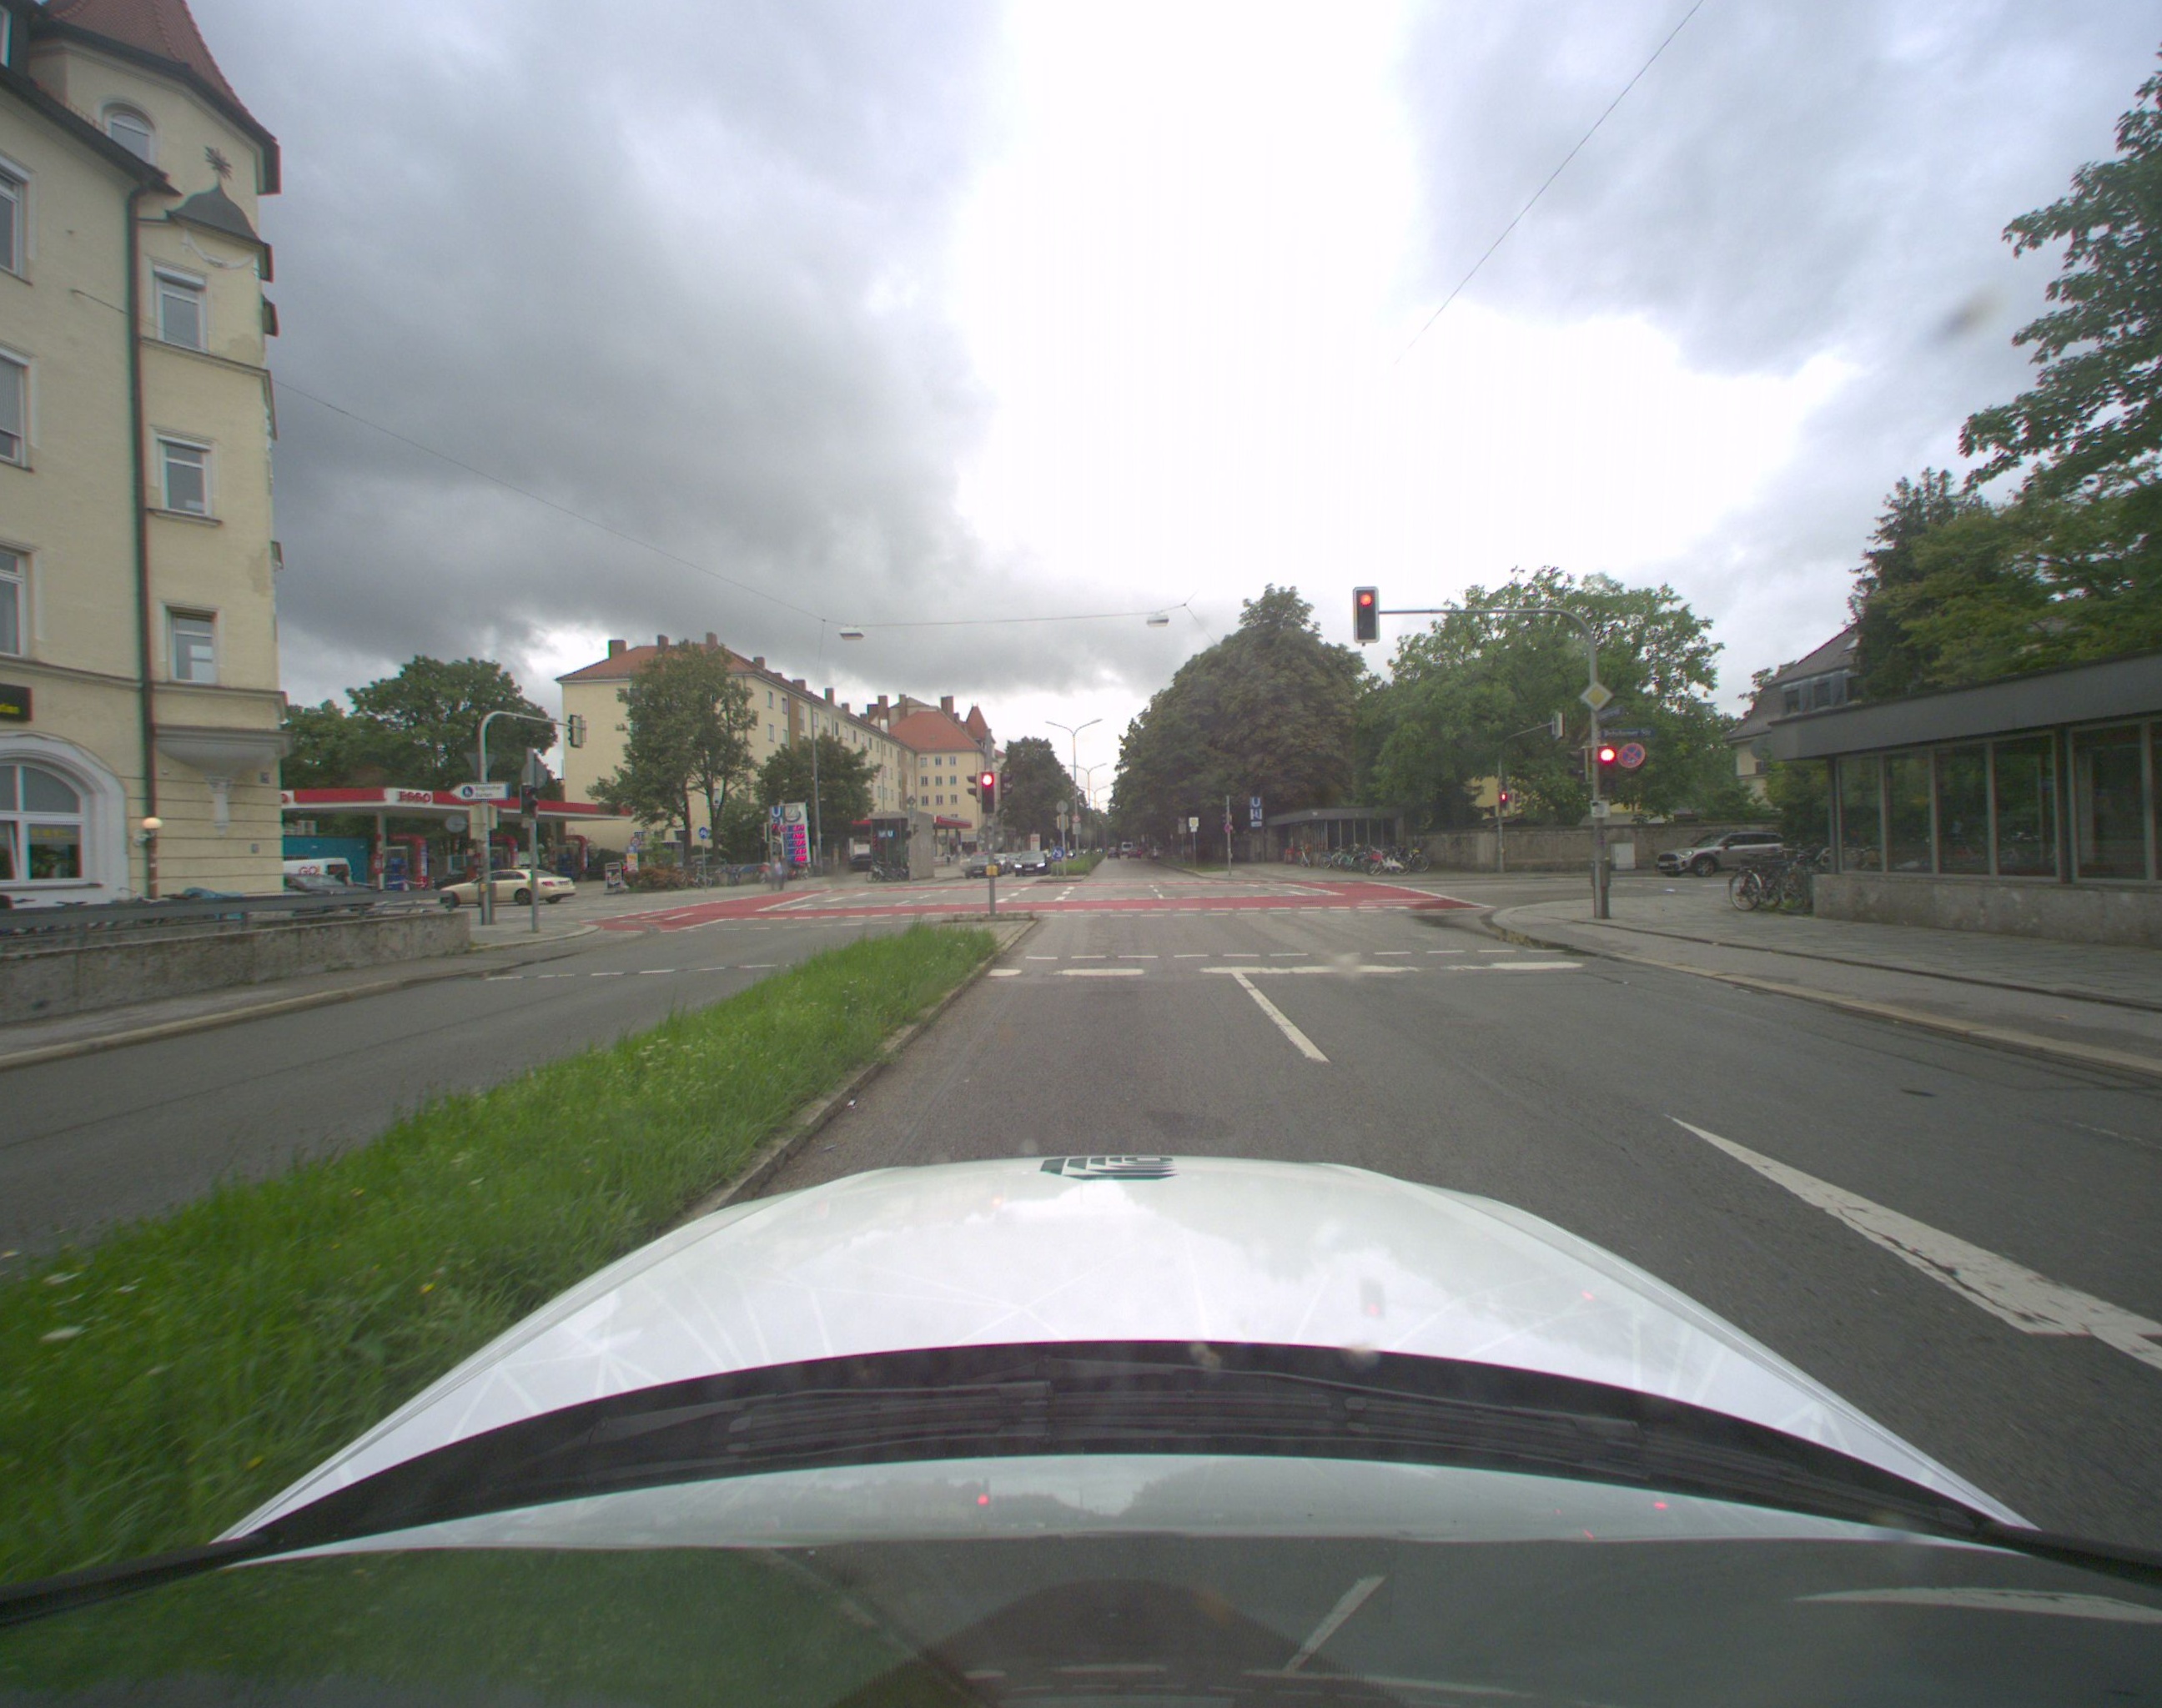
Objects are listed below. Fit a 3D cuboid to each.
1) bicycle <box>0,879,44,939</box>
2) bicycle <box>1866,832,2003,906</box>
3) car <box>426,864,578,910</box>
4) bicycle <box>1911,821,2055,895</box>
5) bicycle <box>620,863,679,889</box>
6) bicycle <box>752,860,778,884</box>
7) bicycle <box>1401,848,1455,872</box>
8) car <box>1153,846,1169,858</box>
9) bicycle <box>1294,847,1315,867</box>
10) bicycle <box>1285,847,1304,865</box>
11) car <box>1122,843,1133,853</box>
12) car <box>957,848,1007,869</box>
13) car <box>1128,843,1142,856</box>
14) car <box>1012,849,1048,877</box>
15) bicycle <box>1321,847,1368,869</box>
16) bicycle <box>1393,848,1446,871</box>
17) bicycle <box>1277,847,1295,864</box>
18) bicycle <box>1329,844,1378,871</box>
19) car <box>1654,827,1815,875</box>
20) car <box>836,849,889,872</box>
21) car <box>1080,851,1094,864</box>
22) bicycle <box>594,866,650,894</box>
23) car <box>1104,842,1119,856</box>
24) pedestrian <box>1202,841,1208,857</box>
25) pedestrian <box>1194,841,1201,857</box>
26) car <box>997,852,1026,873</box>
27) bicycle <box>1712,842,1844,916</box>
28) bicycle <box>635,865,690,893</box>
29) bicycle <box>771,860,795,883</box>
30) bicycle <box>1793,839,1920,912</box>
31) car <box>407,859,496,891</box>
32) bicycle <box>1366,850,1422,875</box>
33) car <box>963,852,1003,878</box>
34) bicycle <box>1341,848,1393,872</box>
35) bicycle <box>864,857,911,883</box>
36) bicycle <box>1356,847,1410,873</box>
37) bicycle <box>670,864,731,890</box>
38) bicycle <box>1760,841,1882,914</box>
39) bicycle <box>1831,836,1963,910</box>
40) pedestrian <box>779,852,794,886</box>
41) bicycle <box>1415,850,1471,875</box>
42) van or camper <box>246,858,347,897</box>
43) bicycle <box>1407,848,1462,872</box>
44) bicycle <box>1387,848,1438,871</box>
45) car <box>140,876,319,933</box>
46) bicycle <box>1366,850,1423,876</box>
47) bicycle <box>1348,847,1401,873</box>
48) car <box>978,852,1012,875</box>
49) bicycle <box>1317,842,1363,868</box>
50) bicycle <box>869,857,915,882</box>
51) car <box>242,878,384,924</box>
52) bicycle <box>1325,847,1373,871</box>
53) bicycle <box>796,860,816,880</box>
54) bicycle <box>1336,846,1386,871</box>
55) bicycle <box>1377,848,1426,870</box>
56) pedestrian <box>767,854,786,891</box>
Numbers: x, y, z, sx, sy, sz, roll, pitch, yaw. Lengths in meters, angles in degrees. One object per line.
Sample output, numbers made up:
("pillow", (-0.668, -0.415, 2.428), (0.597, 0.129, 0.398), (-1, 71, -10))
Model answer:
("bicycle", (-18.291, 0.935, 13.379), (0.471, 0.980, 1.546), (-2, 0, 3))
("bicycle", (13.956, 0.239, 13.387), (0.467, 1.121, 1.736), (-2, 0, 3))
("car", (-23.098, 1.290, 32.584), (4.749, 1.646, 1.785), (-2, 0, 0))
("bicycle", (14.710, 0.066, 13.354), (0.467, 1.121, 1.736), (-2, 0, 3))
("bicycle", (-21.118, 1.061, 39.916), (2.393, 1.251, 0.789), (0, 0, -9))
("bicycle", (-17.041, 0.970, 43.976), (0.607, 1.236, 2.184), (-2, 0, -4))
("bicycle", (15.636, 0.254, 36.736), (2.129, 1.014, 0.636), (-2, 0, 10))
("car", (9.515, -0.291, 97.153), (1.736, 1.363, 3.808), (-2, 0, 2))
("bicycle", (11.938, 0.132, 43.460), (0.555, 1.014, 2.015), (-2, 0, 0))
("bicycle", (12.108, 0.111, 46.191), (0.555, 1.014, 2.015), (-2, 0, 0))
("car", (8.948, -1.215, 158.236), (1.986, 1.756, 4.002), (-2, 0, 2))
("car", (-8.083, 0.344, 66.586), (1.793, 1.608, 3.993), (-2, 1, 34))
("car", (7.421, -0.593, 112.134), (1.915, 1.684, 4.003), (0, 0, 3))
("car", (-3.006, 0.504, 48.730), (1.753, 1.493, 4.002), (-2, 0, 2))
("bicycle", (12.980, 0.219, 40.187), (2.129, 1.014, 0.604), (-2, 0, 10))
("bicycle", (15.588, 0.252, 37.533), (2.129, 1.014, 0.636), (-2, 0, 10))
("bicycle", (12.458, 0.080, 49.565), (0.555, 1.014, 2.015), (-2, 0, 0))
("bicycle", (12.913, 0.168, 38.604), (2.129, 1.178, 0.604), (-2, 0, 10))
("car", (22.767, -0.102, 28.504), (4.146, 1.514, 1.698), (-2, 0, 6))
("car", (-18.846, 0.586, 70.354), (3.975, 1.837, 1.880), (-2, 0, -1))
("car", (0.662, 0.367, 93.064), (1.462, 1.399, 3.702), (-2, 0, 2))
("bicycle", (-22.074, 1.260, 39.221), (2.178, 1.236, 0.764), (-2, 0, -8))
("car", (4.012, -0.661, 106.689), (1.850, 1.684, 4.002), (-2, 0, 2))
("pedestrian", (13.131, -0.569, 86.228), (0.674, 1.682, 0.684), (-2, 0, 8))
("pedestrian", (12.311, -0.564, 86.198), (0.674, 1.682, 0.684), (-2, 0, 8))
("car", (-5.370, 0.649, 63.322), (1.753, 1.460, 4.002), (-2, 0, 2))
("bicycle", (11.494, 0.392, 13.520), (0.597, 1.121, 1.891), (-2, 0, 3))
("bicycle", (-20.140, 1.189, 39.245), (2.180, 1.236, 0.763), (-2, 0, -10))
("bicycle", (-16.350, 0.947, 44.782), (0.607, 1.236, 2.184), (-2, 0, -4))
("bicycle", (12.720, 0.338, 13.429), (0.467, 1.121, 1.736), (-2, 0, 3))
("car", (-38.771, 1.253, 50.234), (3.972, 1.784, 1.858), (-2, 0, 1))
("bicycle", (13.421, 0.356, 34.941), (2.129, 1.014, 0.636), (-2, 0, 10))
("car", (-5.938, 0.653, 49.584), (1.753, 1.460, 4.002), (-2, 0, 2))
("bicycle", (13.024, 0.267, 37.132), (2.129, 1.014, 0.604), (-2, 0, 10))
("bicycle", (-10.215, 0.849, 43.086), (2.262, 1.304, 0.705), (-2, 0, 3))
("bicycle", (13.232, 0.276, 35.754), (2.129, 1.071, 0.604), (-2, 0, 10))
("bicycle", (-18.819, 1.108, 40.282), (2.719, 1.251, 0.786), (0, 0, -28))
("bicycle", (12.143, 0.369, 13.444), (0.467, 1.121, 1.736), (-2, 0, 3))
("bicycle", (13.361, 0.300, 13.403), (0.467, 1.121, 1.736), (-2, 0, 3))
("pedestrian", (-15.158, 0.765, 41.903), (0.593, 1.695, 0.572), (-2, 0, -28))
("bicycle", (15.617, 0.354, 35.170), (2.129, 1.014, 0.636), (-2, 0, 10))
("van or camper", (-51.115, 1.508, 53.156), (4.525, 2.323, 1.917), (-2, 0, -3))
("bicycle", (15.597, 0.254, 35.969), (2.129, 1.014, 0.636), (-2, 0, 10))
("bicycle", (15.568, 0.250, 38.319), (2.129, 1.014, 0.636), (-2, 0, 10))
("car", (-25.929, 1.514, 24.876), (3.608, 1.517, 1.663), (-2, 0, -1))
("bicycle", (13.196, 0.376, 34.324), (2.129, 1.014, 0.604), (-2, 0, 10))
("bicycle", (13.122, 0.261, 36.413), (2.129, 1.100, 0.604), (-2, 0, 10))
("car", (-5.895, 0.654, 56.276), (1.753, 1.460, 4.002), (-2, 0, 2))
("bicycle", (13.006, 0.038, 40.906), (2.129, 1.218, 0.604), (-2, 0, 10))
("bicycle", (-10.158, 0.831, 43.865), (2.275, 1.304, 0.695), (-2, 0, 3))
("car", (-27.174, 1.646, 28.877), (3.531, 1.412, 1.666), (-2, 0, 4))
("bicycle", (12.914, 0.238, 39.307), (2.129, 1.062, 0.604), (-2, 0, 10))
("bicycle", (-16.515, 0.956, 48.938), (0.607, 1.145, 1.963), (-2, 0, -4))
("bicycle", (13.013, 0.193, 37.863), (2.129, 1.086, 0.604), (-2, 0, 10))
("bicycle", (15.693, 0.252, 39.898), (2.129, 1.014, 0.636), (-2, 0, 10))
("pedestrian", (-14.067, 0.844, 37.624), (0.530, 1.695, 0.579), (-2, 0, 14))
